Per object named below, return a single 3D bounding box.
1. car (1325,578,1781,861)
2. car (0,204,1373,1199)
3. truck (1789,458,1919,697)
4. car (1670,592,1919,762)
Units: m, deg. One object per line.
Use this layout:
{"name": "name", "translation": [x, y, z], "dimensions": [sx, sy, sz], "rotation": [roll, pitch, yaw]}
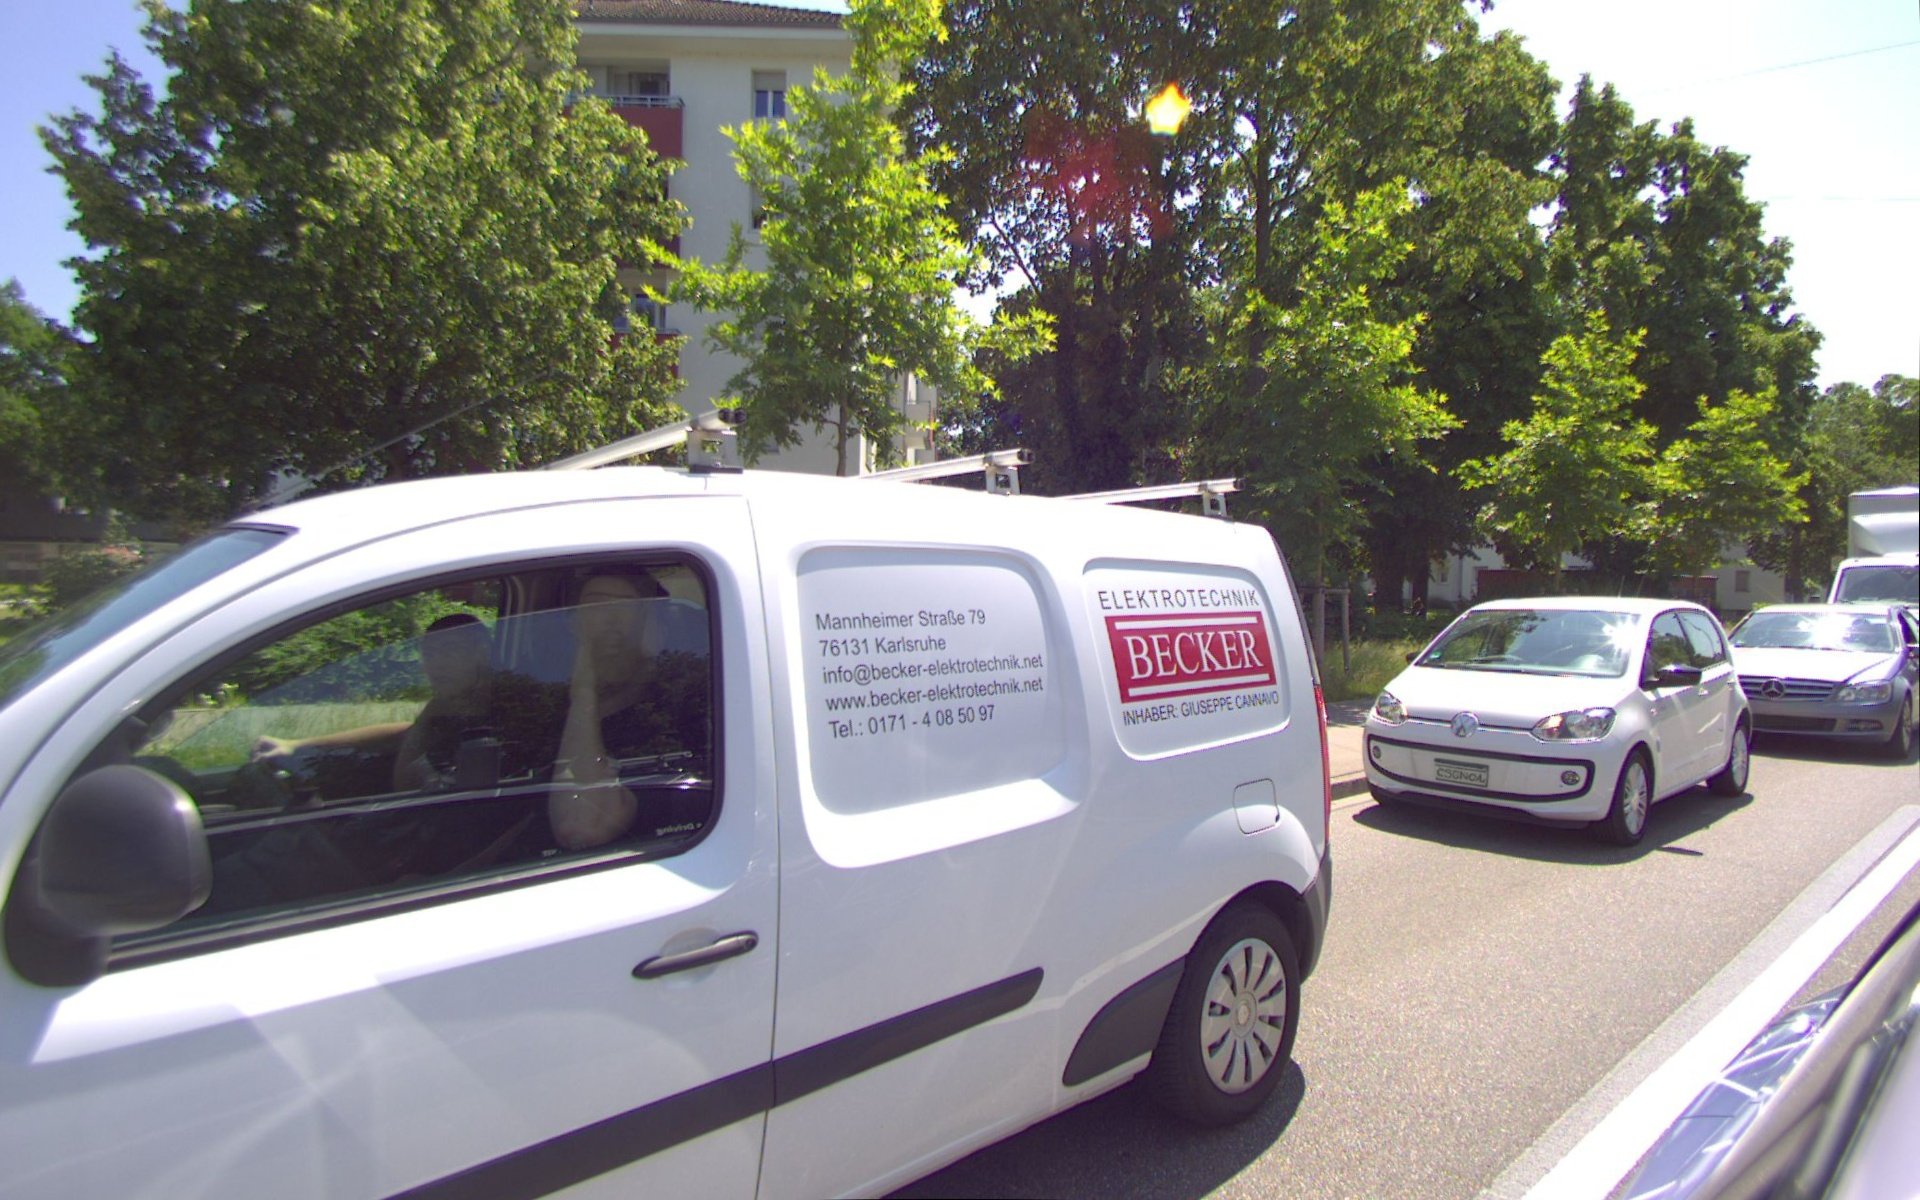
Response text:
{"name": "car", "translation": [4.397, 0.621, 7.294], "dimensions": [3.705, 1.497, 1.729], "rotation": [0, 1, -41]}
{"name": "car", "translation": [-0.995, 0.454, 2.539], "dimensions": [4.370, 1.849, 1.997], "rotation": [0, 1, -41]}
{"name": "truck", "translation": [16.512, -0.337, 16.980], "dimensions": [7.778, 3.387, 2.434], "rotation": [0, 1, -39]}
{"name": "car", "translation": [9.230, 0.654, 10.745], "dimensions": [4.016, 1.426, 1.839], "rotation": [0, 1, -41]}
